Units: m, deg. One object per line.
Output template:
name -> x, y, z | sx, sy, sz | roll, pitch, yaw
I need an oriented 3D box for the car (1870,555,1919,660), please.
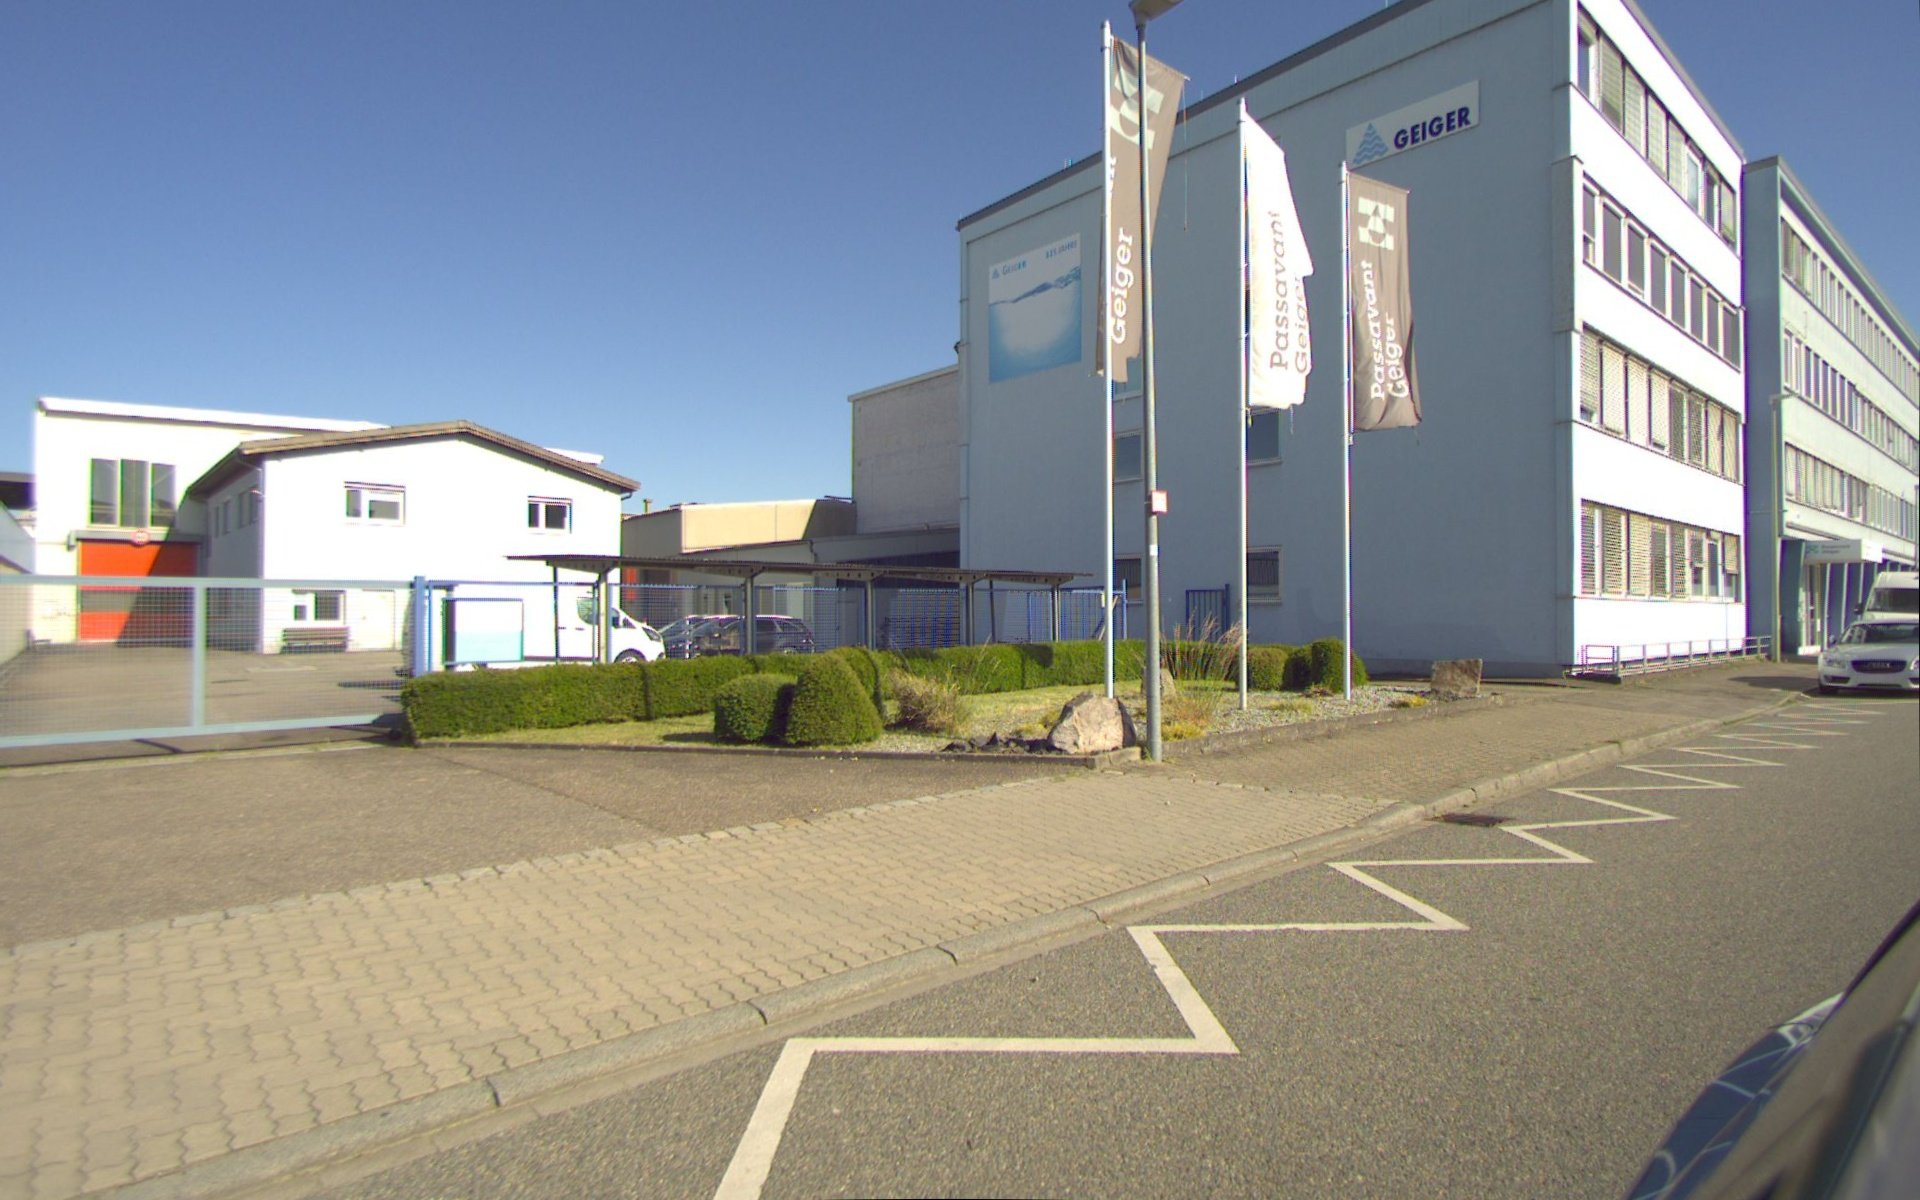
car -> 26.206, 0.254, 27.167 | 5.946, 2.630, 1.997 | 2, 0, -42

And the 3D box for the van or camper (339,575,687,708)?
van or camper -> -9.209, 0.768, 21.290 | 6.396, 2.413, 2.104 | 0, -2, -39

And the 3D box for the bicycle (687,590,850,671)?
bicycle -> -5.193, 0.773, 27.654 | 3.932, 2.039, 1.996 | 0, -1, -43

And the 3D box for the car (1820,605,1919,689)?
car -> 18.191, 0.819, 19.364 | 5.035, 1.423, 1.897 | 0, -2, -41
